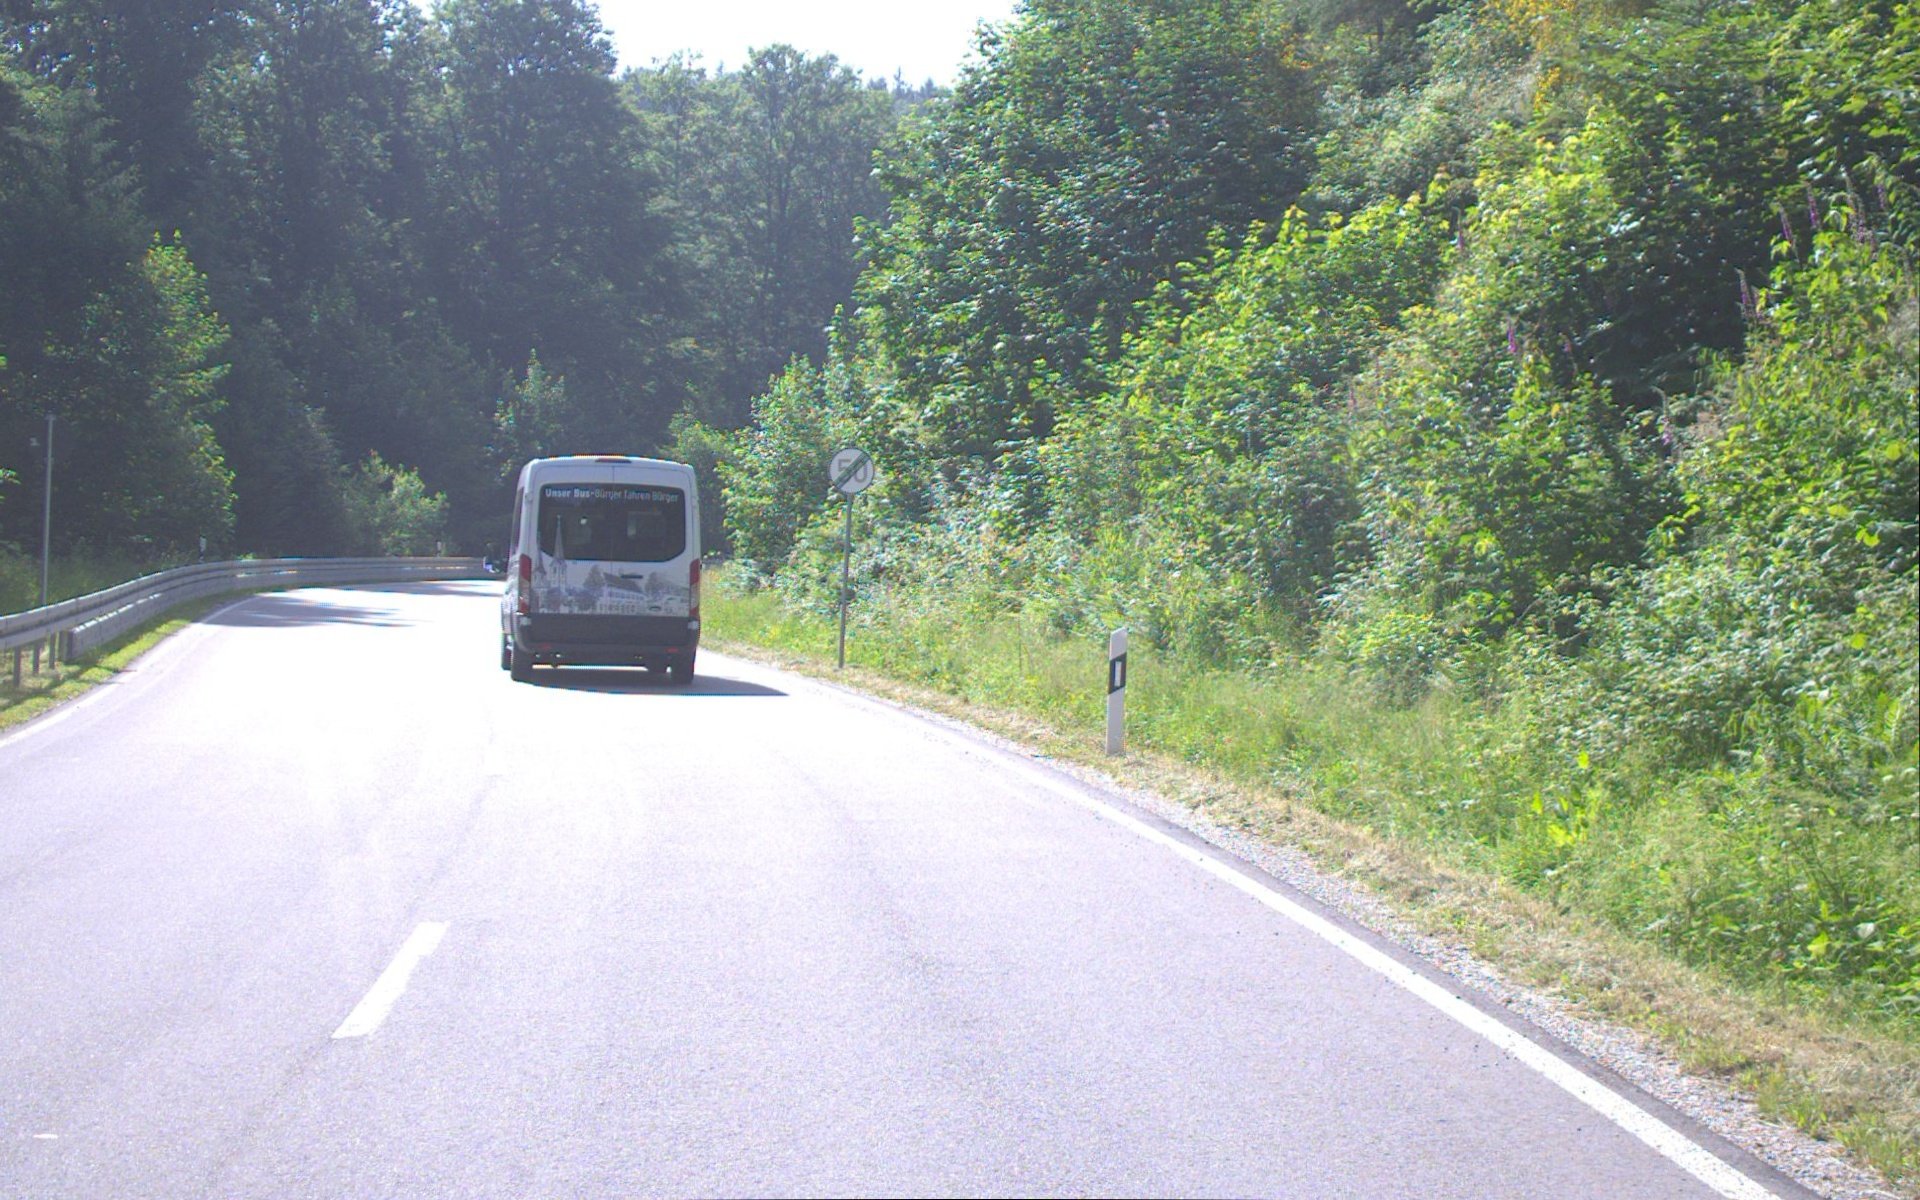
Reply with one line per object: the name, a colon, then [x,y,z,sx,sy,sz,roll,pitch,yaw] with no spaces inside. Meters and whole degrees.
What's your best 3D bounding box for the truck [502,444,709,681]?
truck: [-4.124,-0.458,39.224,2.115,2.489,5.361,1,1,-8]
